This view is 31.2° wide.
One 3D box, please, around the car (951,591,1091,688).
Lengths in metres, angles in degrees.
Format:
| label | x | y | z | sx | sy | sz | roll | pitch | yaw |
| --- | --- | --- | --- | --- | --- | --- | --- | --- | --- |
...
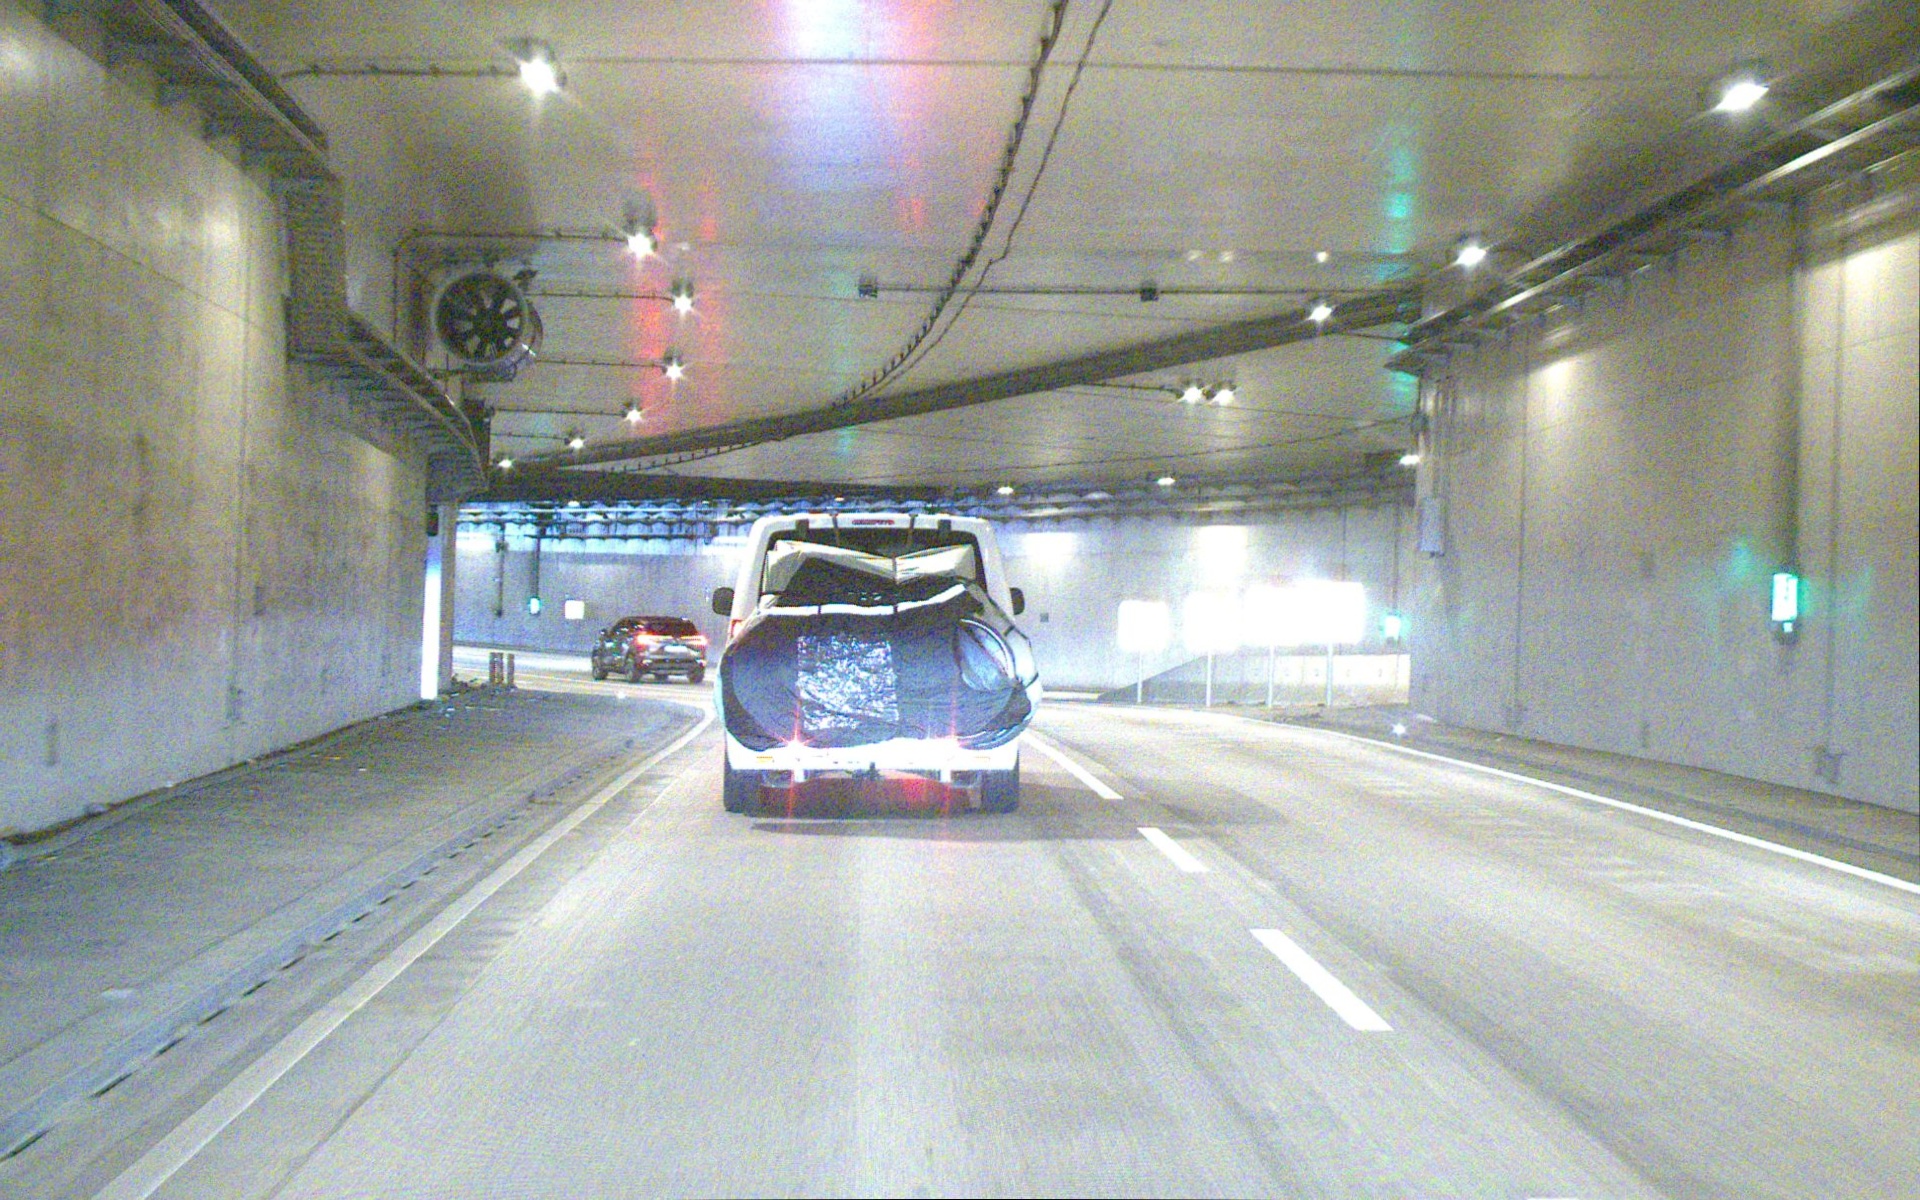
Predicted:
| label | x | y | z | sx | sy | sz | roll | pitch | yaw |
| --- | --- | --- | --- | --- | --- | --- | --- | --- | --- |
| car | 1.055 | 0.677 | 60.879 | 1.602 | 1.624 | 3.357 | -1 | 1 | -15 |

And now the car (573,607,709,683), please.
| label | x | y | z | sx | sy | sz | roll | pitch | yaw |
| --- | --- | --- | --- | --- | --- | --- | --- | --- | --- |
| car | -7.705 | 1.072 | 82.811 | 1.822 | 1.625 | 3.844 | 3 | 0 | -28 |

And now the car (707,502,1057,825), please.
| label | x | y | z | sx | sy | sz | roll | pitch | yaw |
| --- | --- | --- | --- | --- | --- | --- | --- | --- | --- |
| car | -0.639 | 0.370 | 22.436 | 1.993 | 1.841 | 5.302 | 1 | 0 | -4 |

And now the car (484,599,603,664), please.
| label | x | y | z | sx | sy | sz | roll | pitch | yaw |
| --- | --- | --- | --- | --- | --- | --- | --- | --- | --- |
| car | -11.688 | 0.862 | 96.261 | 1.822 | 1.625 | 3.844 | 3 | 0 | -31 |
